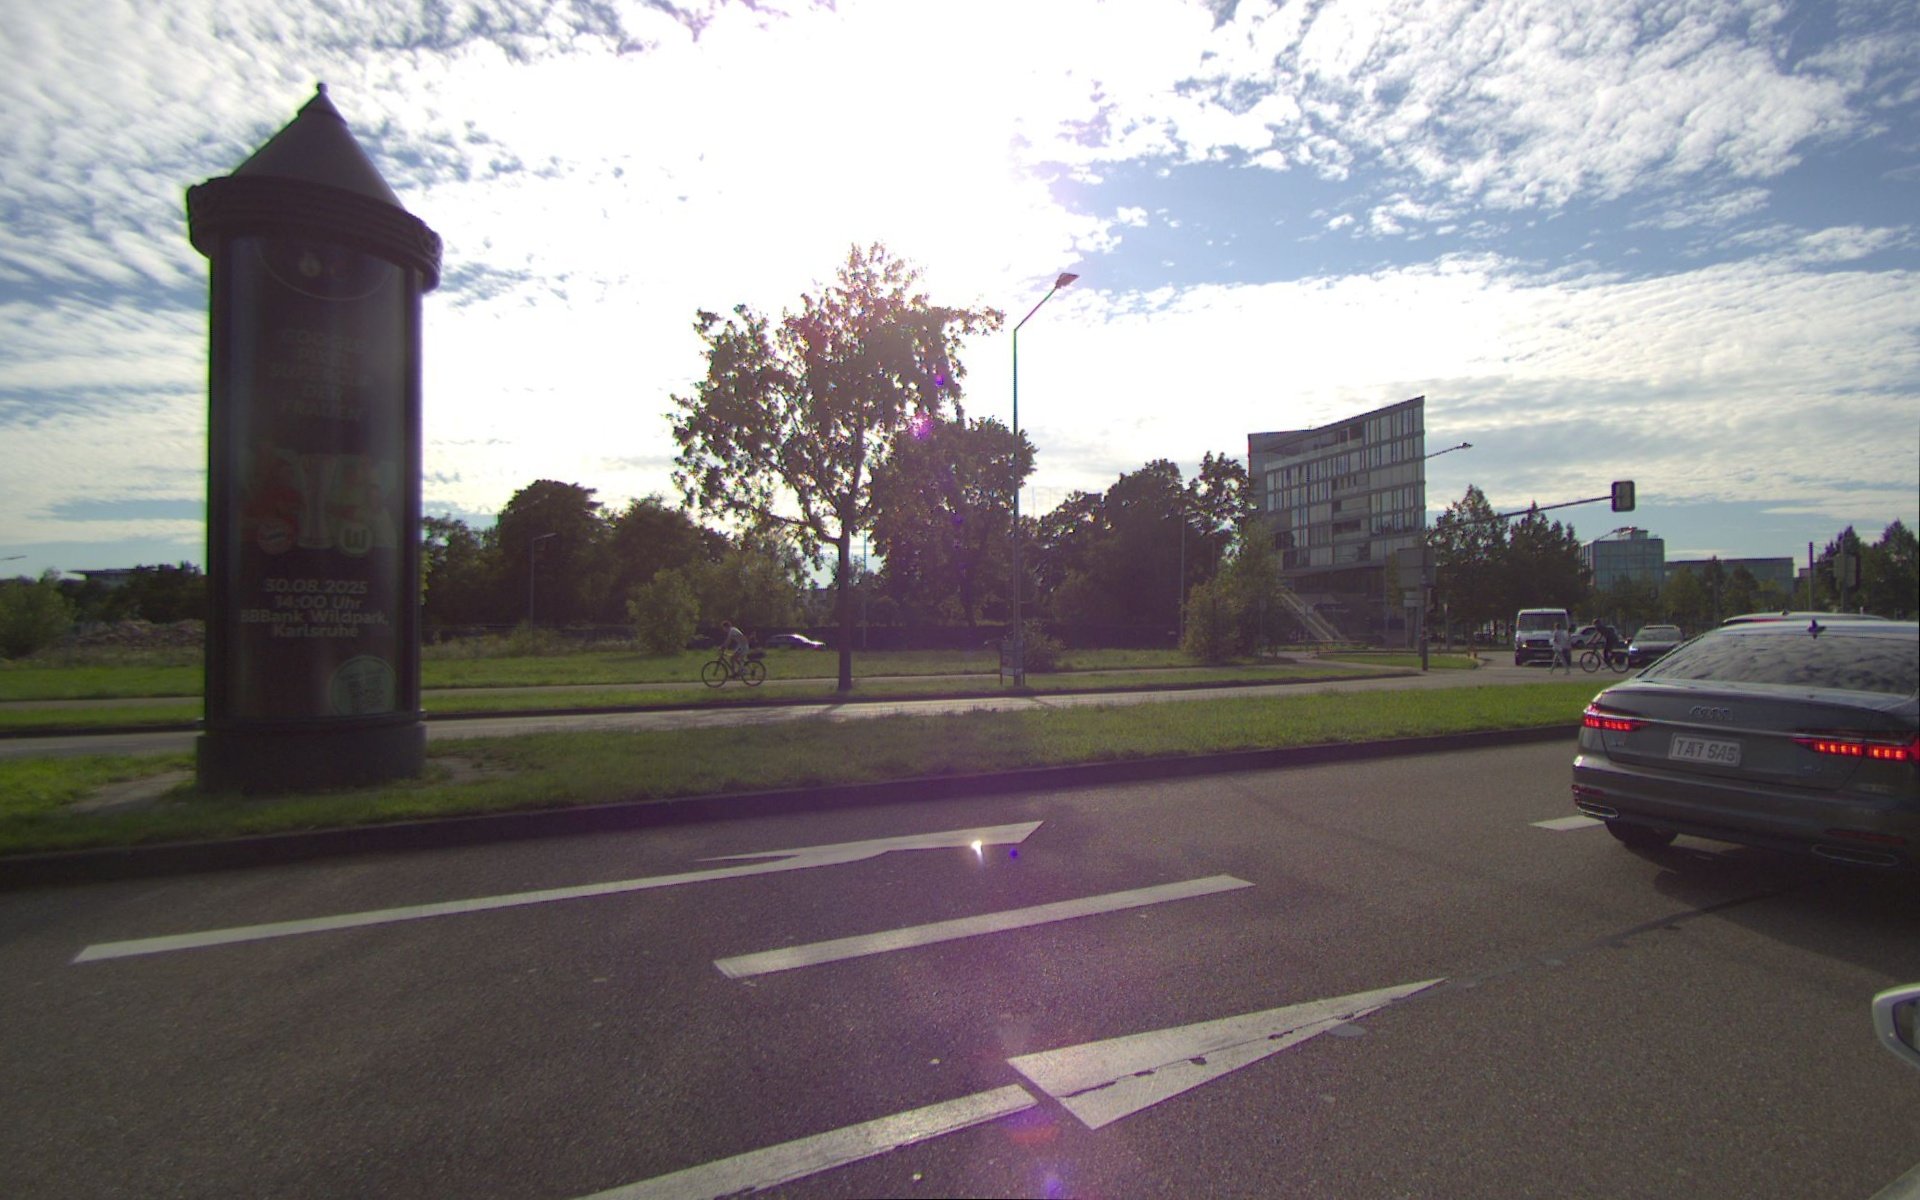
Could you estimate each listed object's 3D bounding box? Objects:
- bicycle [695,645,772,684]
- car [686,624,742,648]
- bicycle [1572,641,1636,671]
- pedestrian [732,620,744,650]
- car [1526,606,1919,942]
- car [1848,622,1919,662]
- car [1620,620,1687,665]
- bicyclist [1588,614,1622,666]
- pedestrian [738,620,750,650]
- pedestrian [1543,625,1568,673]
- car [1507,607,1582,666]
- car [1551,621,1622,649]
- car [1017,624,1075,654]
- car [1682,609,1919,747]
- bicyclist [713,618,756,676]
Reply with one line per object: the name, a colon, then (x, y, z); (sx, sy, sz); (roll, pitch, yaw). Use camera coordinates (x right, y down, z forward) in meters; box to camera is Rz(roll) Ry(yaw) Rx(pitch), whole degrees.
bicycle: (-6.119, 1.740, 27.150); (1.889, 0.994, 0.891); (1, -2, -31)
car: (-19.647, 2.888, 80.377); (3.919, 1.750, 1.850); (-2, -3, 14)
bicycle: (21.433, 1.853, 33.458); (0.638, 0.980, 1.664); (1, -2, -34)
pedestrian: (-14.889, 2.354, 67.294); (0.675, 2.040, 0.641); (0, -2, -5)
car: (5.846, 0.828, 6.408); (4.559, 1.502, 1.881); (1, -1, -31)
car: (38.323, 1.702, 40.779); (1.559, 1.594, 3.167); (2, -2, -35)
car: (26.202, 1.623, 37.901); (1.685, 1.593, 3.981); (-3, -4, 40)
bicyclist: (21.458, 1.324, 33.446); (0.544, 1.690, 0.783); (1, -2, -34)
pedestrian: (-14.668, 2.394, 68.101); (0.723, 2.040, 0.739); (0, -2, -6)
pedestrian: (19.648, 1.611, 33.147); (0.644, 1.589, 0.615); (-1, -2, 27)
car: (24.514, 1.560, 42.022); (1.968, 2.264, 5.903); (-3, -4, 37)
car: (46.298, 2.610, 74.278); (4.154, 2.040, 1.827); (1, -3, -3)
car: (6.385, 2.853, 74.426); (3.919, 2.040, 2.001); (2, 0, 13)
car: (11.502, 0.931, 13.272); (3.971, 1.579, 1.721); (1, -1, -30)
bicyclist: (-6.097, 1.258, 27.145); (0.978, 1.546, 0.702); (1, -2, -30)
